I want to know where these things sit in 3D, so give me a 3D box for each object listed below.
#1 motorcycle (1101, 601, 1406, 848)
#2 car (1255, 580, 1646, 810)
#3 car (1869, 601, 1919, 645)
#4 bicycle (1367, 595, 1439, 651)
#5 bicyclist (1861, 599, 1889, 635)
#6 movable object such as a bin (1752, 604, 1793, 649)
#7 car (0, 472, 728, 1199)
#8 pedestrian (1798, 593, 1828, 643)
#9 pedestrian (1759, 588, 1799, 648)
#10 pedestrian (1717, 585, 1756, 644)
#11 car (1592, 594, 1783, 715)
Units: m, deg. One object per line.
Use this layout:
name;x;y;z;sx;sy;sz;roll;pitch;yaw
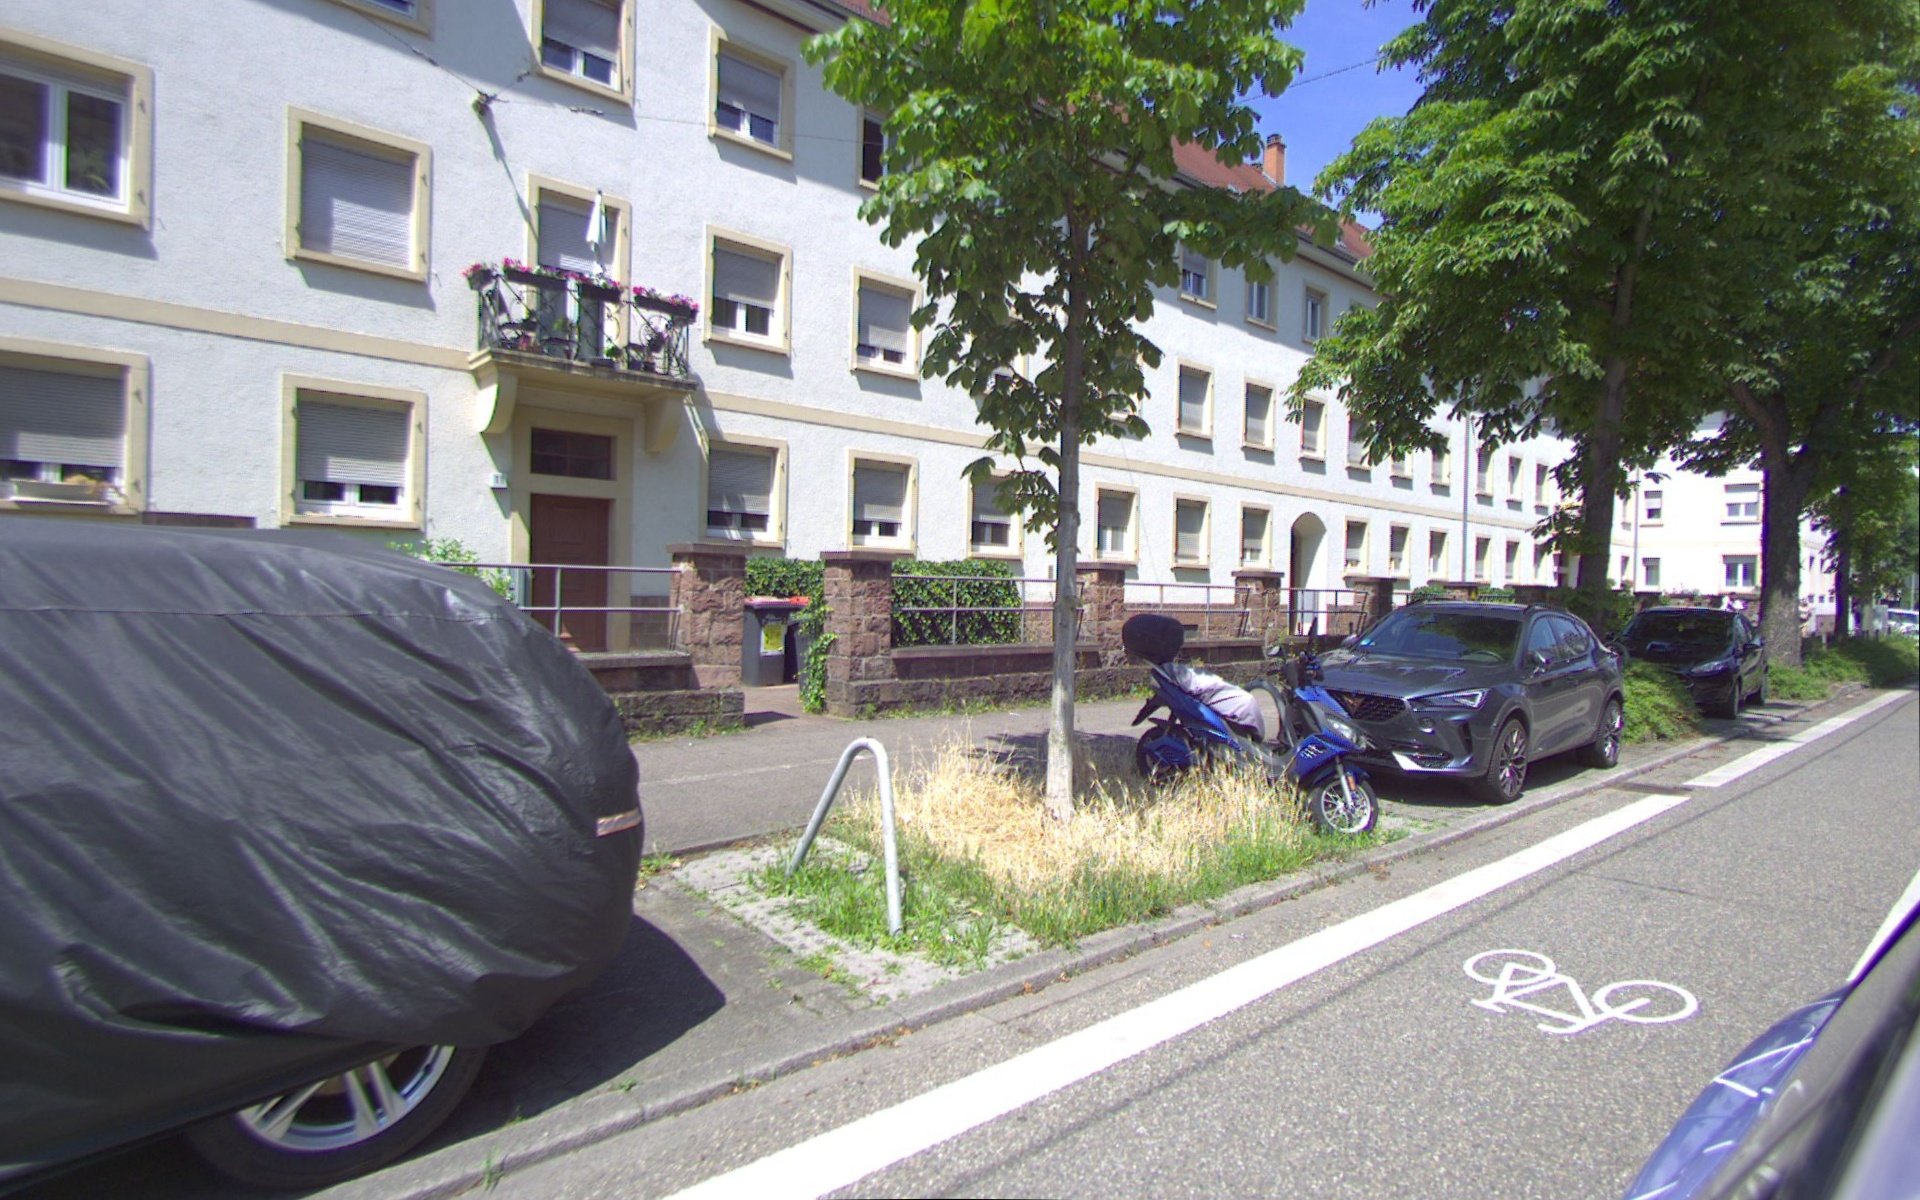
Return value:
motorcycle;1.965;0.750;6.974;1.910;1.451;0.662;1;0;40
car;4.602;0.663;9.154;4.378;1.571;1.734;1;1;-43
car;35.487;0.855;37.822;4.086;1.427;1.781;0;5;-43
bicycle;9.750;0.481;22.234;1.935;1.139;0.598;0;4;-40
bicyclist;38.536;0.707;42.625;0.992;1.470;0.712;1;0;-39
movable object such as a bin;23.179;0.750;28.876;1.019;1.200;0.698;1;3;-42
car;-3.178;0.545;2.301;4.791;1.671;1.952;1;1;-39
pedestrian;29.600;0.623;35.128;0.743;1.690;0.698;1;0;-43
pedestrian;23.883;0.521;29.504;0.854;1.690;0.698;1;3;-42
pedestrian;23.028;0.423;30.001;0.743;1.690;0.698;1;3;-42
car;10.929;0.715;15.094;3.934;1.534;1.658;1;1;-44
